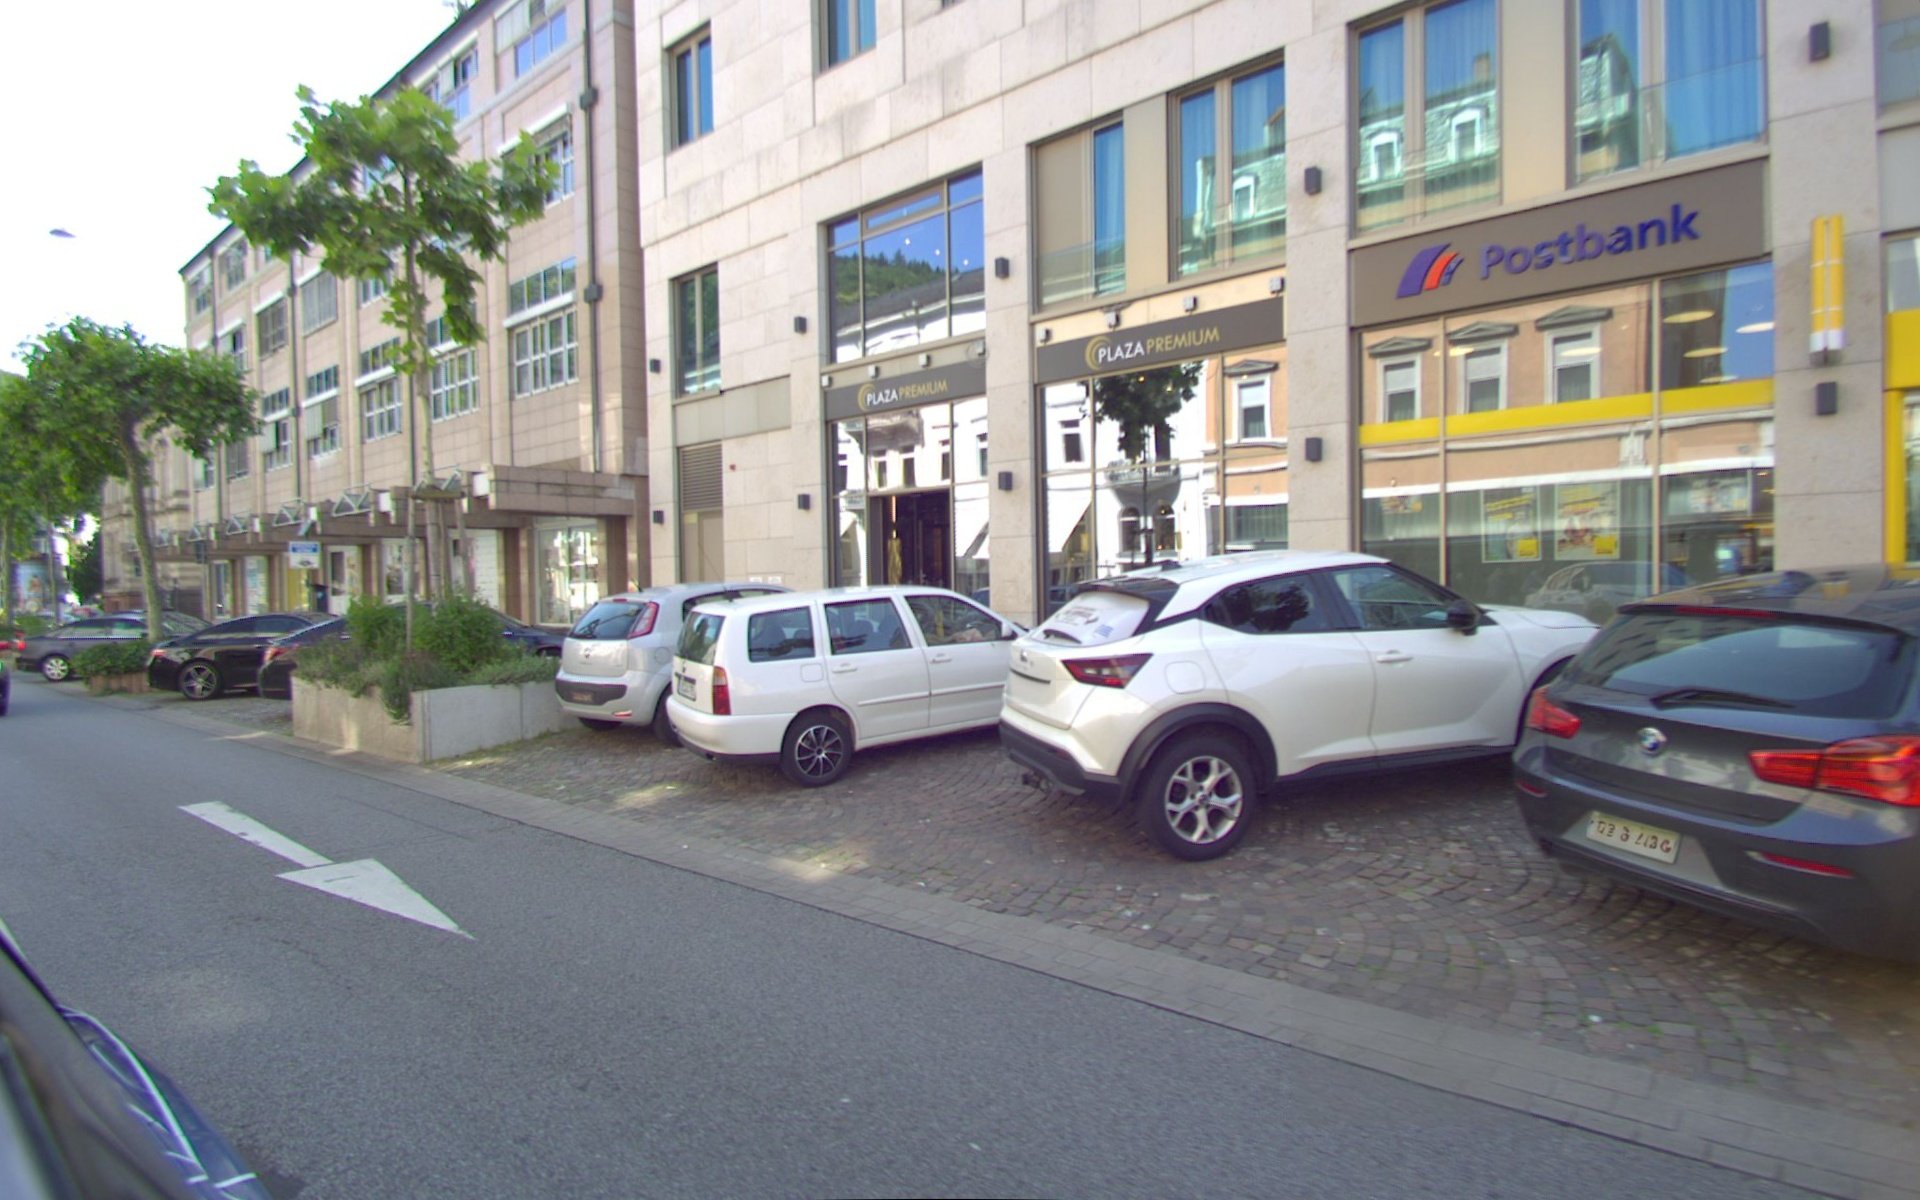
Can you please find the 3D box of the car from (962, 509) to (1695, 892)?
[{"bbox_3d":[2.235,0.417,6.417,3.971,1.604,1.825,-6,4,-16],"label":"car"}]

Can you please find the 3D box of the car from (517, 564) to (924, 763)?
[{"bbox_3d":[-2.409,0.494,10.983,1.819,1.539,3.948,1,5,40],"label":"car"}]

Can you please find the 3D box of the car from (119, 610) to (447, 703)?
[{"bbox_3d":[-11.802,0.946,17.894,4.551,1.457,1.735,-1,0,-5],"label":"car"}]

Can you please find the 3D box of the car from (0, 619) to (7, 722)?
[{"bbox_3d":[-16.101,1.083,15.355,4.102,1.489,1.845,-2,-3,39],"label":"car"}]

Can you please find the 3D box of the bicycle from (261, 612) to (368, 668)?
[{"bbox_3d":[-15.006,0.917,23.572,0.476,1.110,1.975,-1,3,42],"label":"bicycle"}]

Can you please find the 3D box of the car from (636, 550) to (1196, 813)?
[{"bbox_3d":[-0.299,0.495,8.844,4.426,1.442,1.869,-7,5,-29],"label":"car"}]

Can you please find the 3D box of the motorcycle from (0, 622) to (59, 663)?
[{"bbox_3d":[-32.996,1.462,34.818,3.058,1.361,0.979,-1,0,-2],"label":"motorcycle"}]

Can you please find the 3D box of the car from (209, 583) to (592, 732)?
[{"bbox_3d":[-7.744,0.717,14.553,4.455,1.515,1.798,-5,4,-18],"label":"car"}]

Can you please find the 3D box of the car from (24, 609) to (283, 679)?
[{"bbox_3d":[-20.995,1.103,26.553,5.051,1.645,1.847,-1,0,-10],"label":"car"}]

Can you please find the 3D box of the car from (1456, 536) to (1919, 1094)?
[{"bbox_3d":[4.491,0.480,4.125,4.246,1.460,1.792,-4,3,-15],"label":"car"}]

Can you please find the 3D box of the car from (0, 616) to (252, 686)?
[{"bbox_3d":[-19.627,1.159,23.933,4.333,1.457,1.890,-1,-1,-9],"label":"car"}]

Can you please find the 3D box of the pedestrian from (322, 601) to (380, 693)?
[{"bbox_3d":[-12.861,0.967,21.385,0.844,1.893,0.829,-1,0,42],"label":"pedestrian"}]
